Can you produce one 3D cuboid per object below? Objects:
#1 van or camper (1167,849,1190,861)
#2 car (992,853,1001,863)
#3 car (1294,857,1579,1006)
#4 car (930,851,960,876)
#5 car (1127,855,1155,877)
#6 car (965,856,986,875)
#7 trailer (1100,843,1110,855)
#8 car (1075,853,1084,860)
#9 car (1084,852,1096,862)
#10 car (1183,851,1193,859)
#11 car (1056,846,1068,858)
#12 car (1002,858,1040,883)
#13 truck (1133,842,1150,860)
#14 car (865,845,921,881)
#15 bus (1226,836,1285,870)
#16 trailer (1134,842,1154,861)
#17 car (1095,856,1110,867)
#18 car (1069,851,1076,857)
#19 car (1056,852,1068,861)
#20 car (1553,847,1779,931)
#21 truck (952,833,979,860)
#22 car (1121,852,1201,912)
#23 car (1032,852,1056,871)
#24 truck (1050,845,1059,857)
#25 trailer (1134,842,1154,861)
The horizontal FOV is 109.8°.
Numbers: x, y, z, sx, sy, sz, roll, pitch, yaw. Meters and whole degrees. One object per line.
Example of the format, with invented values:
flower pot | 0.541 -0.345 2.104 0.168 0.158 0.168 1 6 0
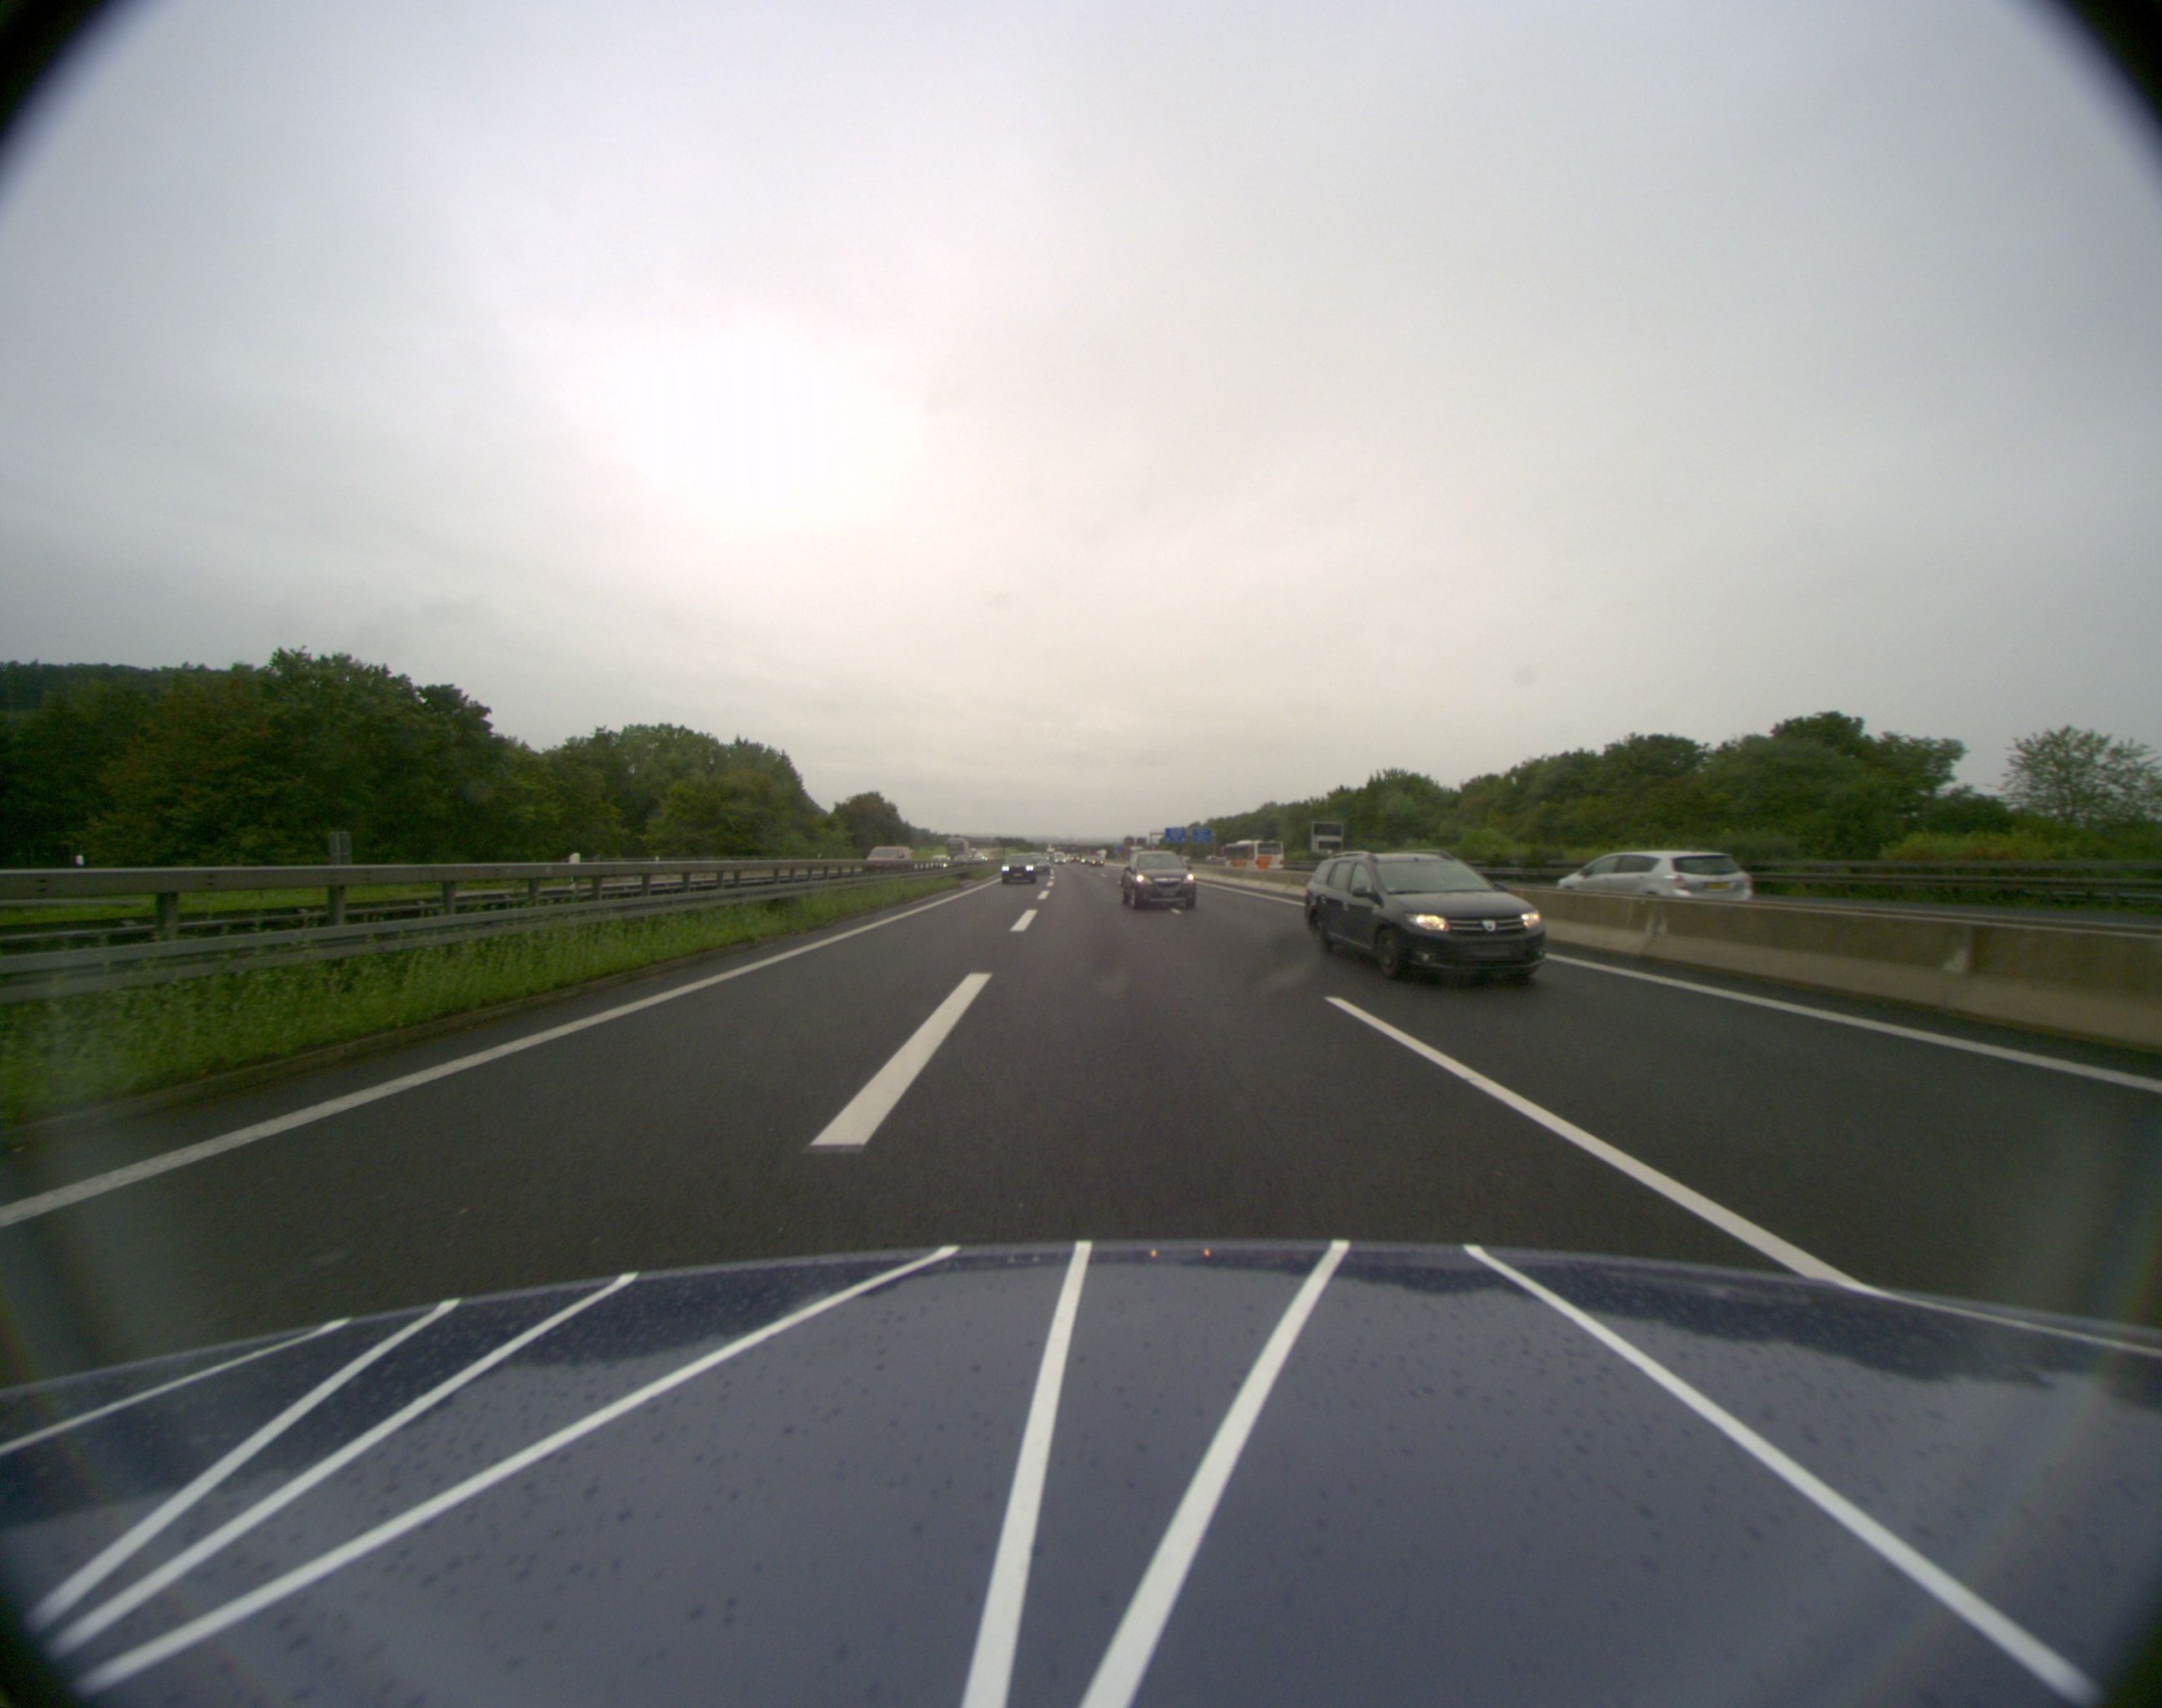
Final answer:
van or camper | 11.548 0.097 90.216 1.753 1.439 4.583 -1 1 -4
car | -18.044 0.773 161.772 1.752 2.002 4.496 -1 1 -4
car | 4.356 0.822 10.239 1.726 1.481 4.566 0 1 0
car | -11.238 0.745 63.046 1.752 2.002 4.497 0 1 -2
car | 4.371 0.837 56.062 1.726 1.481 4.566 0 1 0
car | -11.396 1.213 82.127 1.752 2.002 4.497 0 1 -1
trailer | 7.999 -1.630 252.550 2.643 3.715 10.808 0 1 -1
car | -0.311 0.559 161.056 1.726 1.481 4.566 0 1 -1
car | 1.583 0.500 130.051 1.782 1.669 4.565 0 1 -3
car | 26.306 0.204 186.674 1.805 1.776 4.411 0 0 0
car | -3.469 -0.377 139.536 2.016 1.994 4.565 -1 1 -4
car | -3.548 0.953 45.454 1.867 1.349 4.566 0 1 0
truck | 12.439 -0.635 156.141 2.895 3.727 5.942 0 1 -2
car | -11.140 0.458 45.374 2.130 2.002 5.076 0 1 -1
bus | 16.323 -0.142 72.021 2.705 2.941 11.895 0 1 0
trailer | 12.582 -0.588 151.909 2.911 3.727 8.924 0 1 -2
car | 2.827 0.975 100.693 1.726 1.397 4.565 0 1 -2
car | -2.079 -0.009 183.743 1.726 1.481 4.565 0 1 -2
car | -3.383 0.412 133.137 1.920 1.481 4.565 -1 1 -4
car | 13.327 0.691 17.737 1.998 1.701 4.302 0 1 1
truck | -17.446 -1.160 115.054 2.799 3.878 10.025 0 1 -2
car | 2.299 0.762 22.771 1.813 1.571 3.833 0 1 -3
car | -3.089 0.591 63.900 1.886 1.519 3.999 0 1 -2
truck | -8.906 -1.058 255.970 2.799 3.878 10.025 0 1 -1
trailer | 12.582 -0.588 151.909 2.911 3.727 8.924 0 1 -2
